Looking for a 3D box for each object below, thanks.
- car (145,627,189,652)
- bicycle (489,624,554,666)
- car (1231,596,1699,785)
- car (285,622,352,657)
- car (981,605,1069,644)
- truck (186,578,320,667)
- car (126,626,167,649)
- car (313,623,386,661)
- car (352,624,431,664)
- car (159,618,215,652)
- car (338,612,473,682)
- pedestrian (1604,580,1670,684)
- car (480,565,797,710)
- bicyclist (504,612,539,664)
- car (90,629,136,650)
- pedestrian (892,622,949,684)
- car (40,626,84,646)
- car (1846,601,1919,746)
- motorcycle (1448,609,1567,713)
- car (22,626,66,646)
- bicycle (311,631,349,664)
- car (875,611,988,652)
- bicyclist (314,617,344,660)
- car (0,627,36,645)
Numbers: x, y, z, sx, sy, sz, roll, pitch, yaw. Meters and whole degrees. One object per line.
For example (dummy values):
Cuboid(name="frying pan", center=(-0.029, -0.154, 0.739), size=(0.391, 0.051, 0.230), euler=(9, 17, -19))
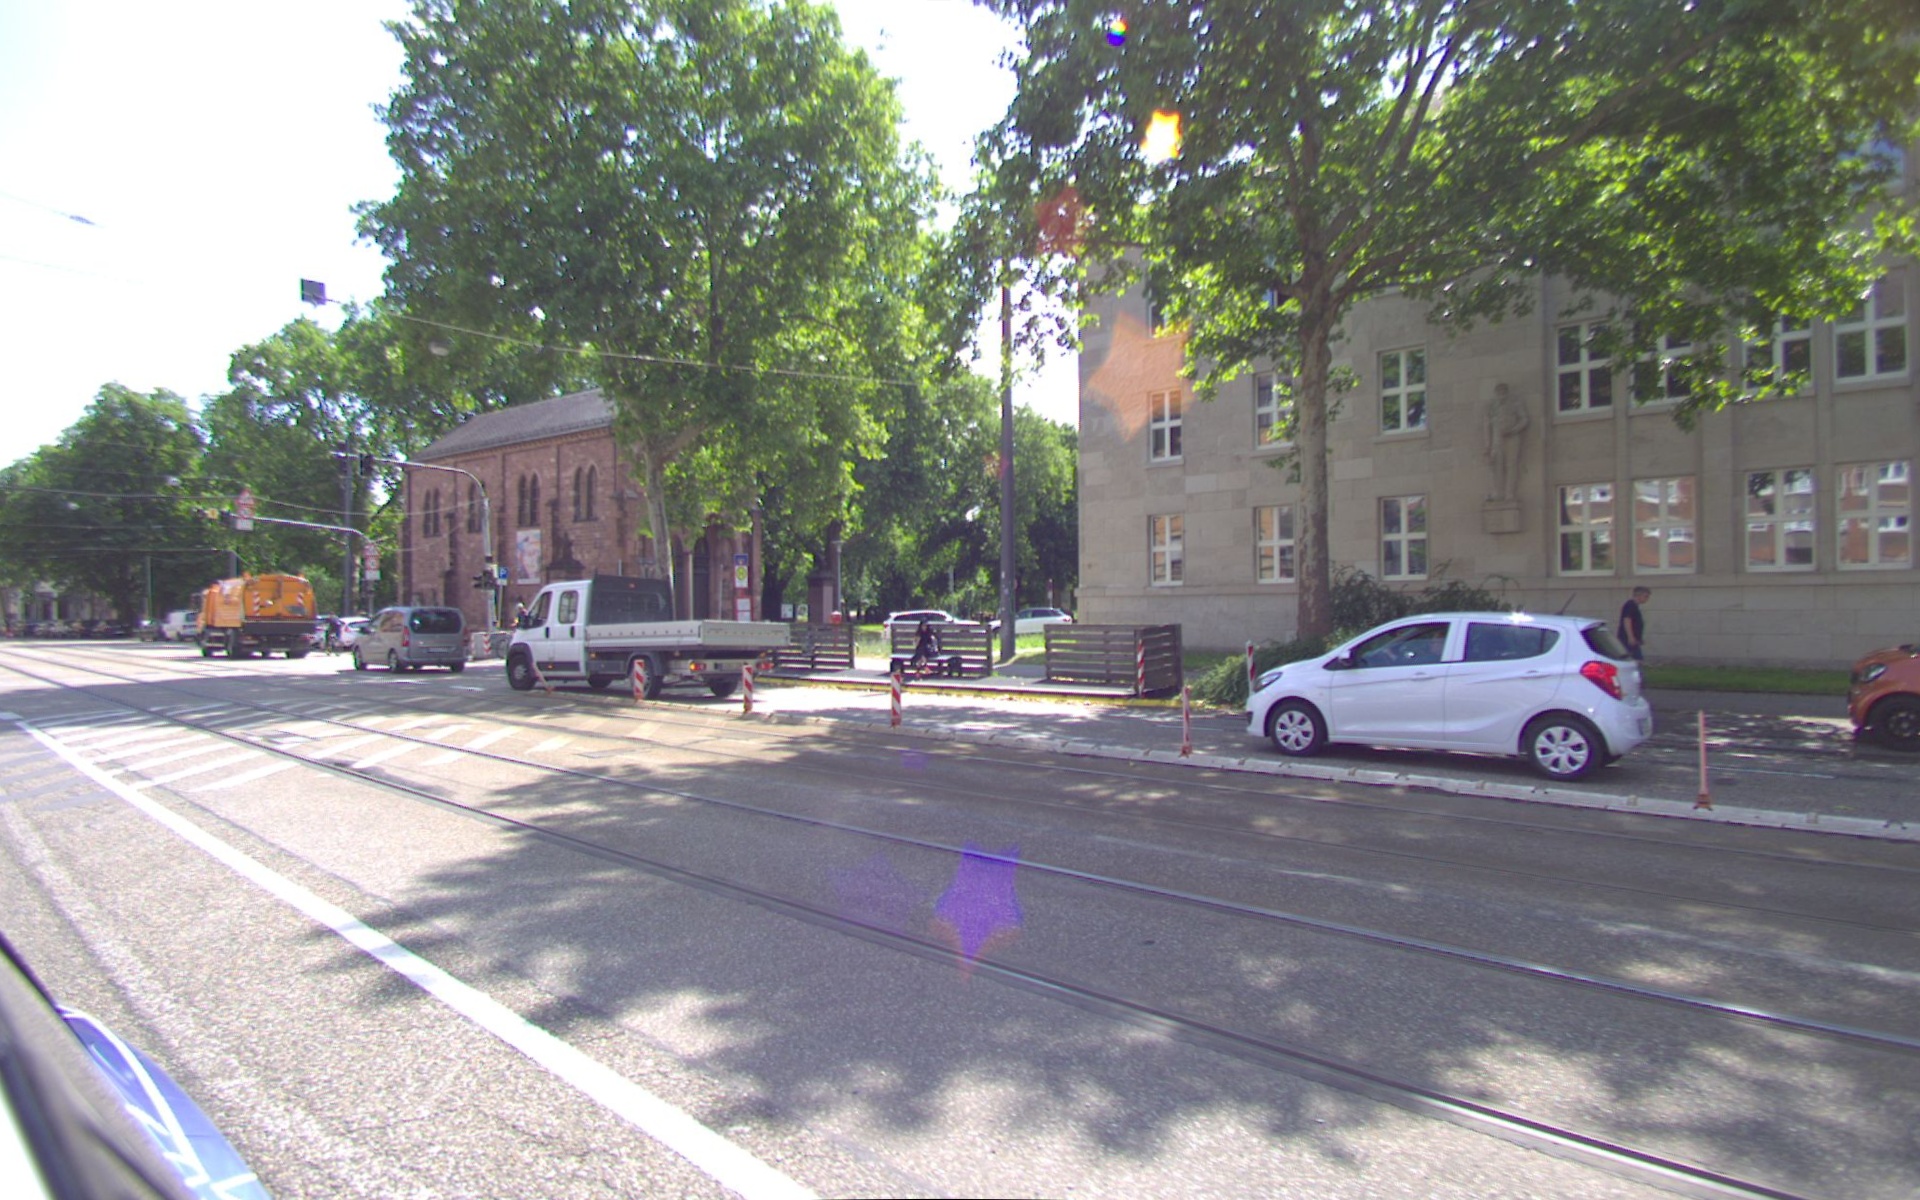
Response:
Cuboid(name="car", center=(-54.446, 2.695, 69.440), size=(4.000, 1.508, 1.738), euler=(0, 1, 42))
Cuboid(name="bicycle", center=(-15.586, 1.577, 36.014), size=(0.670, 1.299, 2.065), euler=(-1, 2, 34))
Cuboid(name="car", center=(4.809, 0.785, 9.920), size=(3.786, 1.491, 1.742), euler=(-2, -3, 41))
Cuboid(name="car", center=(-31.032, 1.890, 48.915), size=(4.000, 1.508, 1.738), euler=(0, 1, 42))
Cuboid(name="car", center=(3.019, 1.115, 46.458), size=(3.953, 1.706, 1.757), euler=(0, -1, 8))
Cuboid(name="truck", center=(-27.368, 0.836, 39.037), size=(7.221, 3.130, 2.611), euler=(0, -2, 42))
Cuboid(name="car", center=(-59.058, 2.728, 73.475), size=(4.000, 1.508, 1.738), euler=(0, 1, 42))
Cuboid(name="car", center=(-27.659, 1.867, 45.817), size=(4.000, 1.508, 1.738), euler=(0, 1, 42))
Cuboid(name="car", center=(-24.130, 1.840, 42.876), size=(4.000, 1.508, 1.738), euler=(0, 1, 42))
Cuboid(name="car", center=(-50.457, 2.258, 66.039), size=(4.081, 2.019, 1.968), euler=(0, 1, 39))
Cuboid(name="car", center=(-15.358, 1.250, 27.911), size=(4.537, 1.759, 1.899), euler=(-1, -3, 43))
Cuboid(name="pedestrian", center=(10.785, 0.492, 16.121), size=(0.795, 1.603, 0.548), euler=(-1, 1, 41))
Cuboid(name="car", center=(-6.451, 0.728, 19.748), size=(6.968, 2.392, 2.235), euler=(-1, -3, 37))
Cuboid(name="bicyclist", center=(-15.591, 1.335, 36.001), size=(0.660, 1.797, 0.875), euler=(-1, 1, 34))
Cuboid(name="car", center=(-64.908, 3.009, 77.573), size=(3.991, 1.508, 1.741), euler=(-1, 1, 35))
Cuboid(name="pedestrian", center=(-0.864, 1.133, 22.041), size=(0.913, 1.221, 0.747), euler=(0, 5, 44))
Cuboid(name="car", center=(-74.182, 2.983, 83.618), size=(3.988, 1.508, 1.743), euler=(-1, 1, 33))
Cuboid(name="car", center=(11.187, 0.747, 10.531), size=(2.880, 1.464, 1.472), euler=(-2, 1, 40))
Cuboid(name="motorcycle", center=(7.575, 0.799, 14.120), size=(0.537, 1.184, 2.105), euler=(-5, 2, 3))
Cuboid(name="car", center=(-77.886, 3.053, 86.042), size=(3.987, 1.508, 1.743), euler=(-1, 1, 32))
Cuboid(name="bicycle", center=(-25.436, 1.901, 40.829), size=(2.217, 1.300, 0.697), euler=(-1, -1, 41))
Cuboid(name="car", center=(-1.150, 1.261, 41.576), size=(4.364, 1.620, 1.755), euler=(0, -1, 12))
Cuboid(name="bicyclist", center=(-25.469, 1.541, 40.846), size=(1.175, 1.699, 0.694), euler=(-1, -1, 41))
Cuboid(name="car", center=(-84.065, 3.165, 89.756), size=(3.978, 1.508, 1.747), euler=(-1, 1, 26))
